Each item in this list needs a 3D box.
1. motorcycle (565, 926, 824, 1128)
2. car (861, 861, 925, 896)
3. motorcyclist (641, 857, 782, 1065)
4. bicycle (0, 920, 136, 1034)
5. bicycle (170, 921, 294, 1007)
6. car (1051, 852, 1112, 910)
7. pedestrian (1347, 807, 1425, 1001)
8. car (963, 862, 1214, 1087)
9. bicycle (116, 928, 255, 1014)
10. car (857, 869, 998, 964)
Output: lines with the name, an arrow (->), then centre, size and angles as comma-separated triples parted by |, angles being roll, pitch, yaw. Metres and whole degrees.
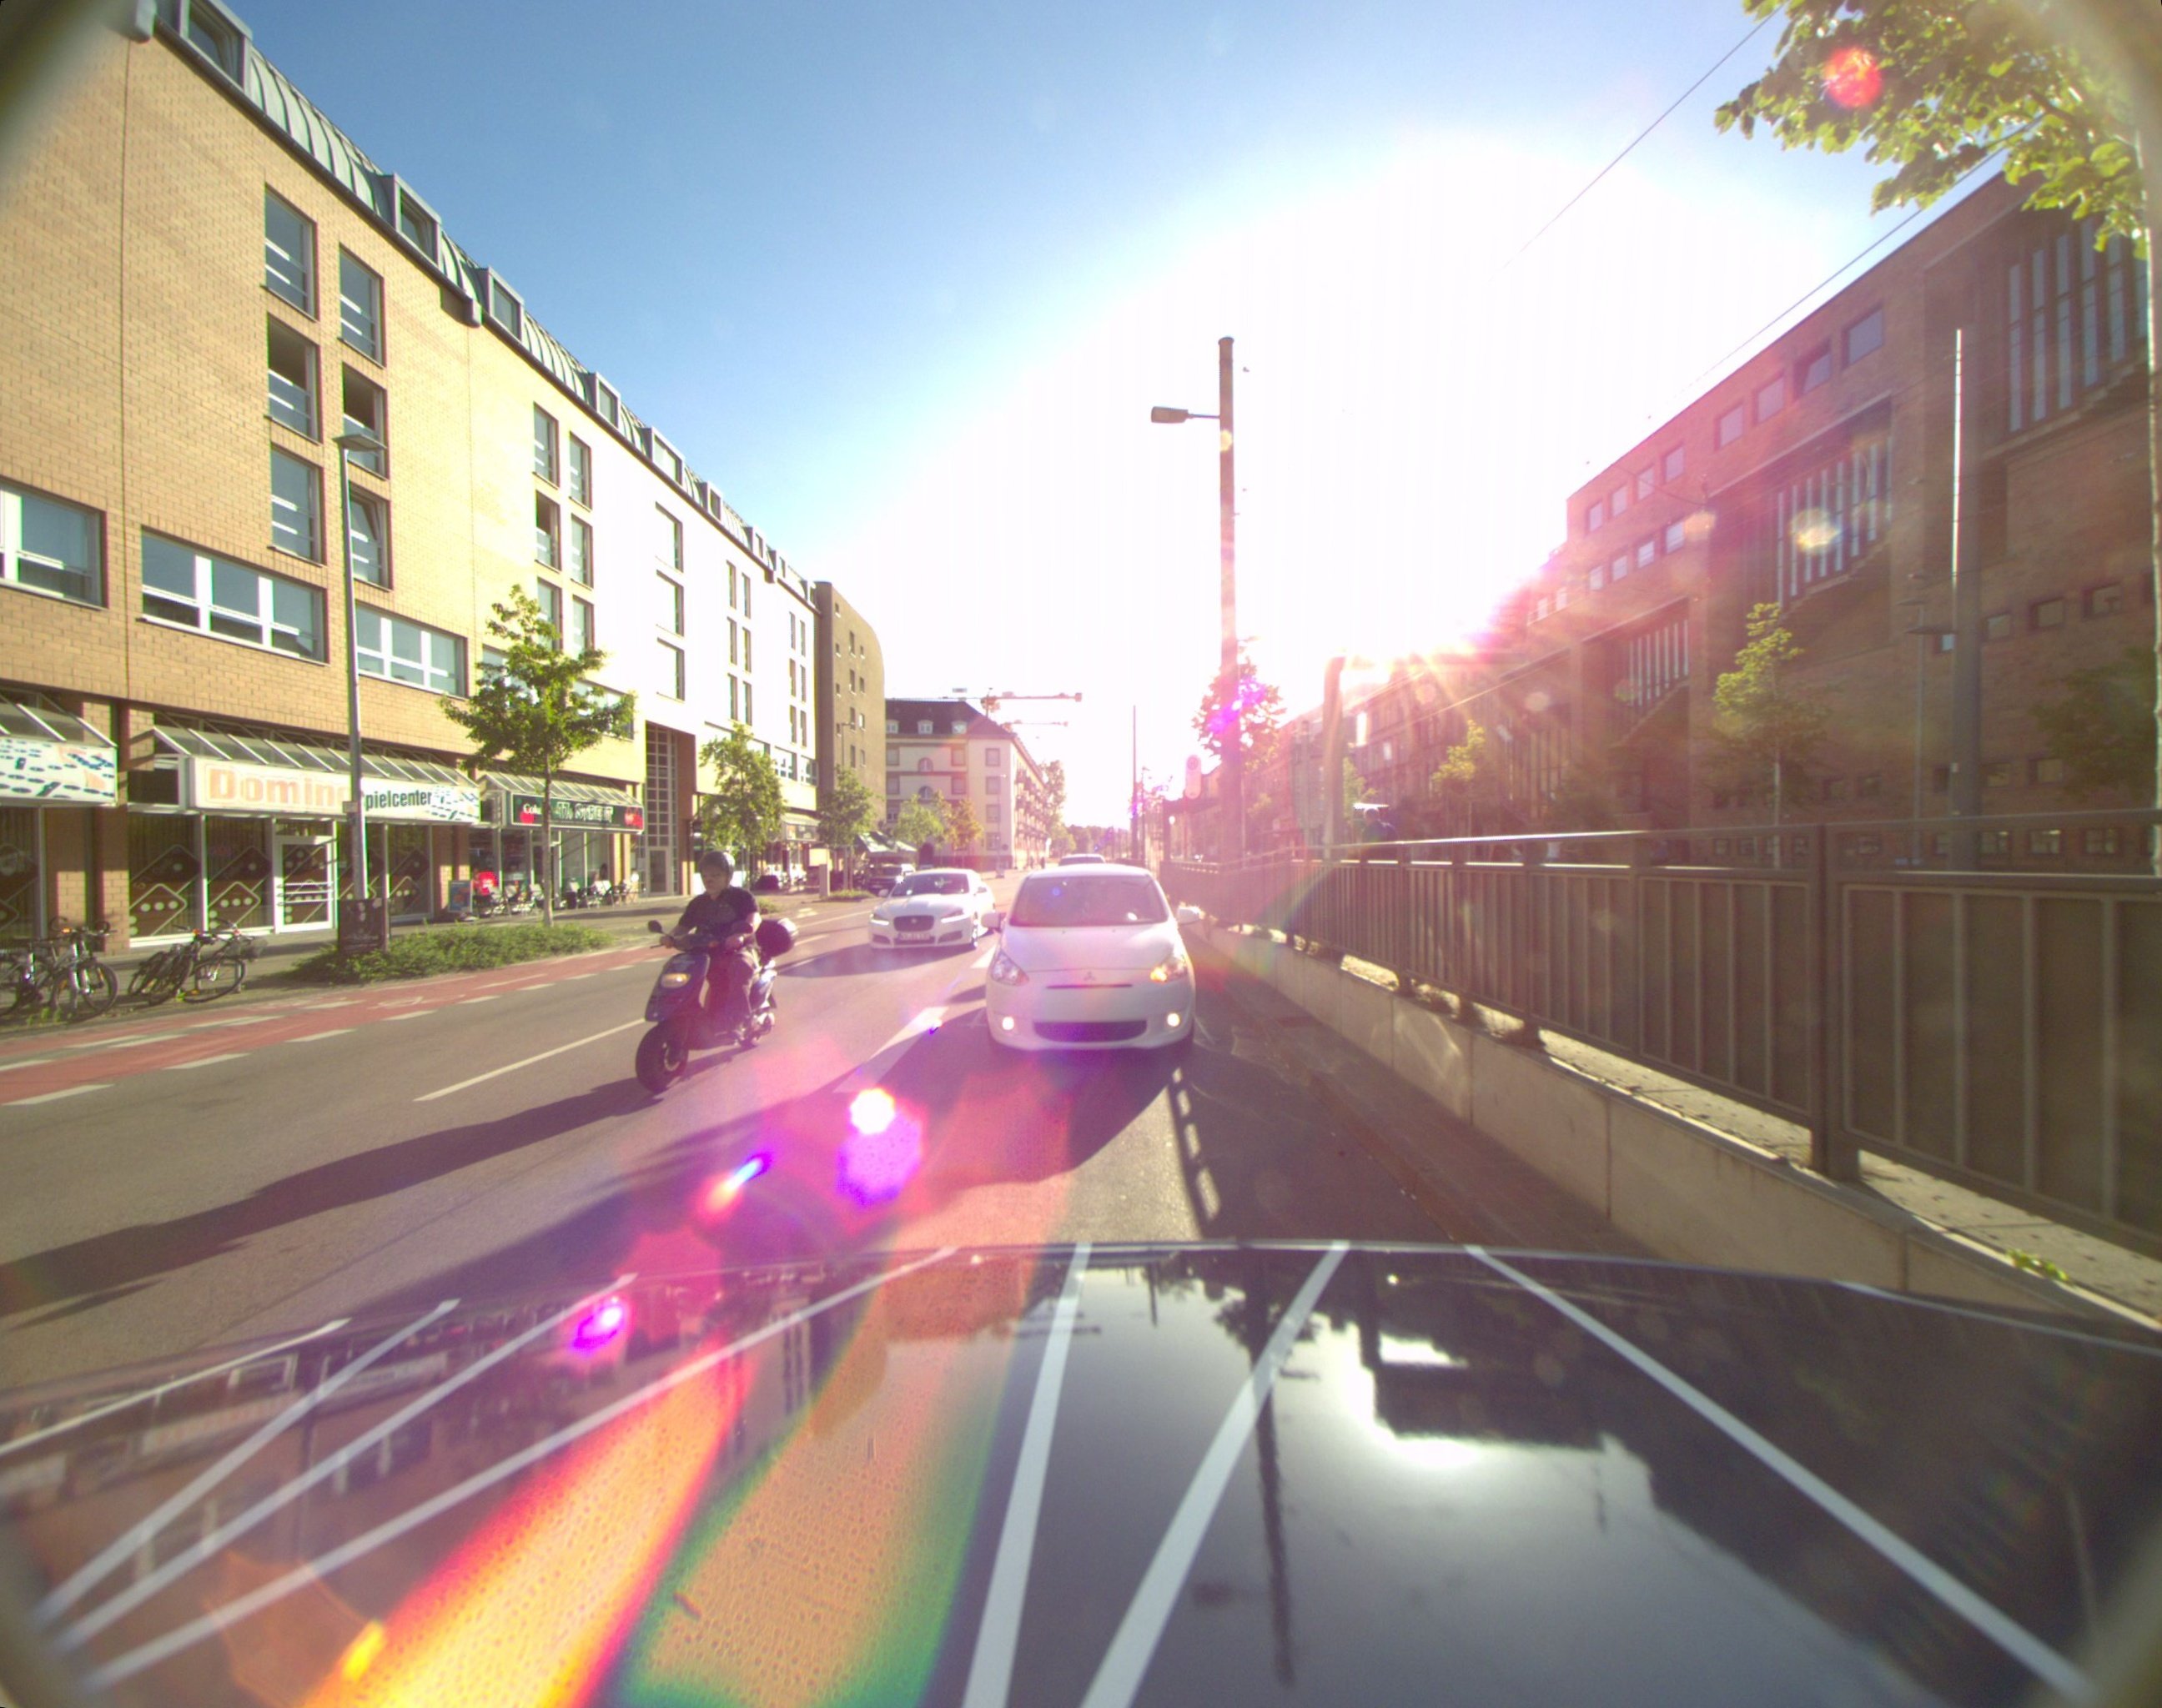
motorcycle -> -2.939, 1.252, 6.178 | 0.806, 1.044, 2.375 | -2, 1, 1
car -> -9.741, 1.252, 39.729 | 1.778, 1.630, 4.003 | 2, 0, 9
motorcyclist -> -2.949, 0.829, 6.123 | 0.798, 1.571, 0.529 | -2, 1, 0
bicycle -> -12.308, 1.429, 9.073 | 1.835, 1.156, 0.565 | 1, 2, 15
bicycle -> -11.909, 1.526, 10.651 | 1.835, 1.050, 0.351 | 1, 2, 15
car -> 0.018, 0.793, 24.376 | 1.720, 1.591, 4.215 | -2, 1, 0
pedestrian -> 3.960, 0.628, 9.895 | 0.684, 2.428, 0.626 | -2, 1, -2
car -> 0.053, 0.875, 7.482 | 1.720, 1.422, 4.215 | -2, 1, 0
bicycle -> -12.018, 1.544, 10.195 | 1.835, 0.980, 0.449 | 1, 2, 15
car -> -2.755, 1.066, 14.649 | 1.808, 1.421, 4.452 | -1, 0, 0
